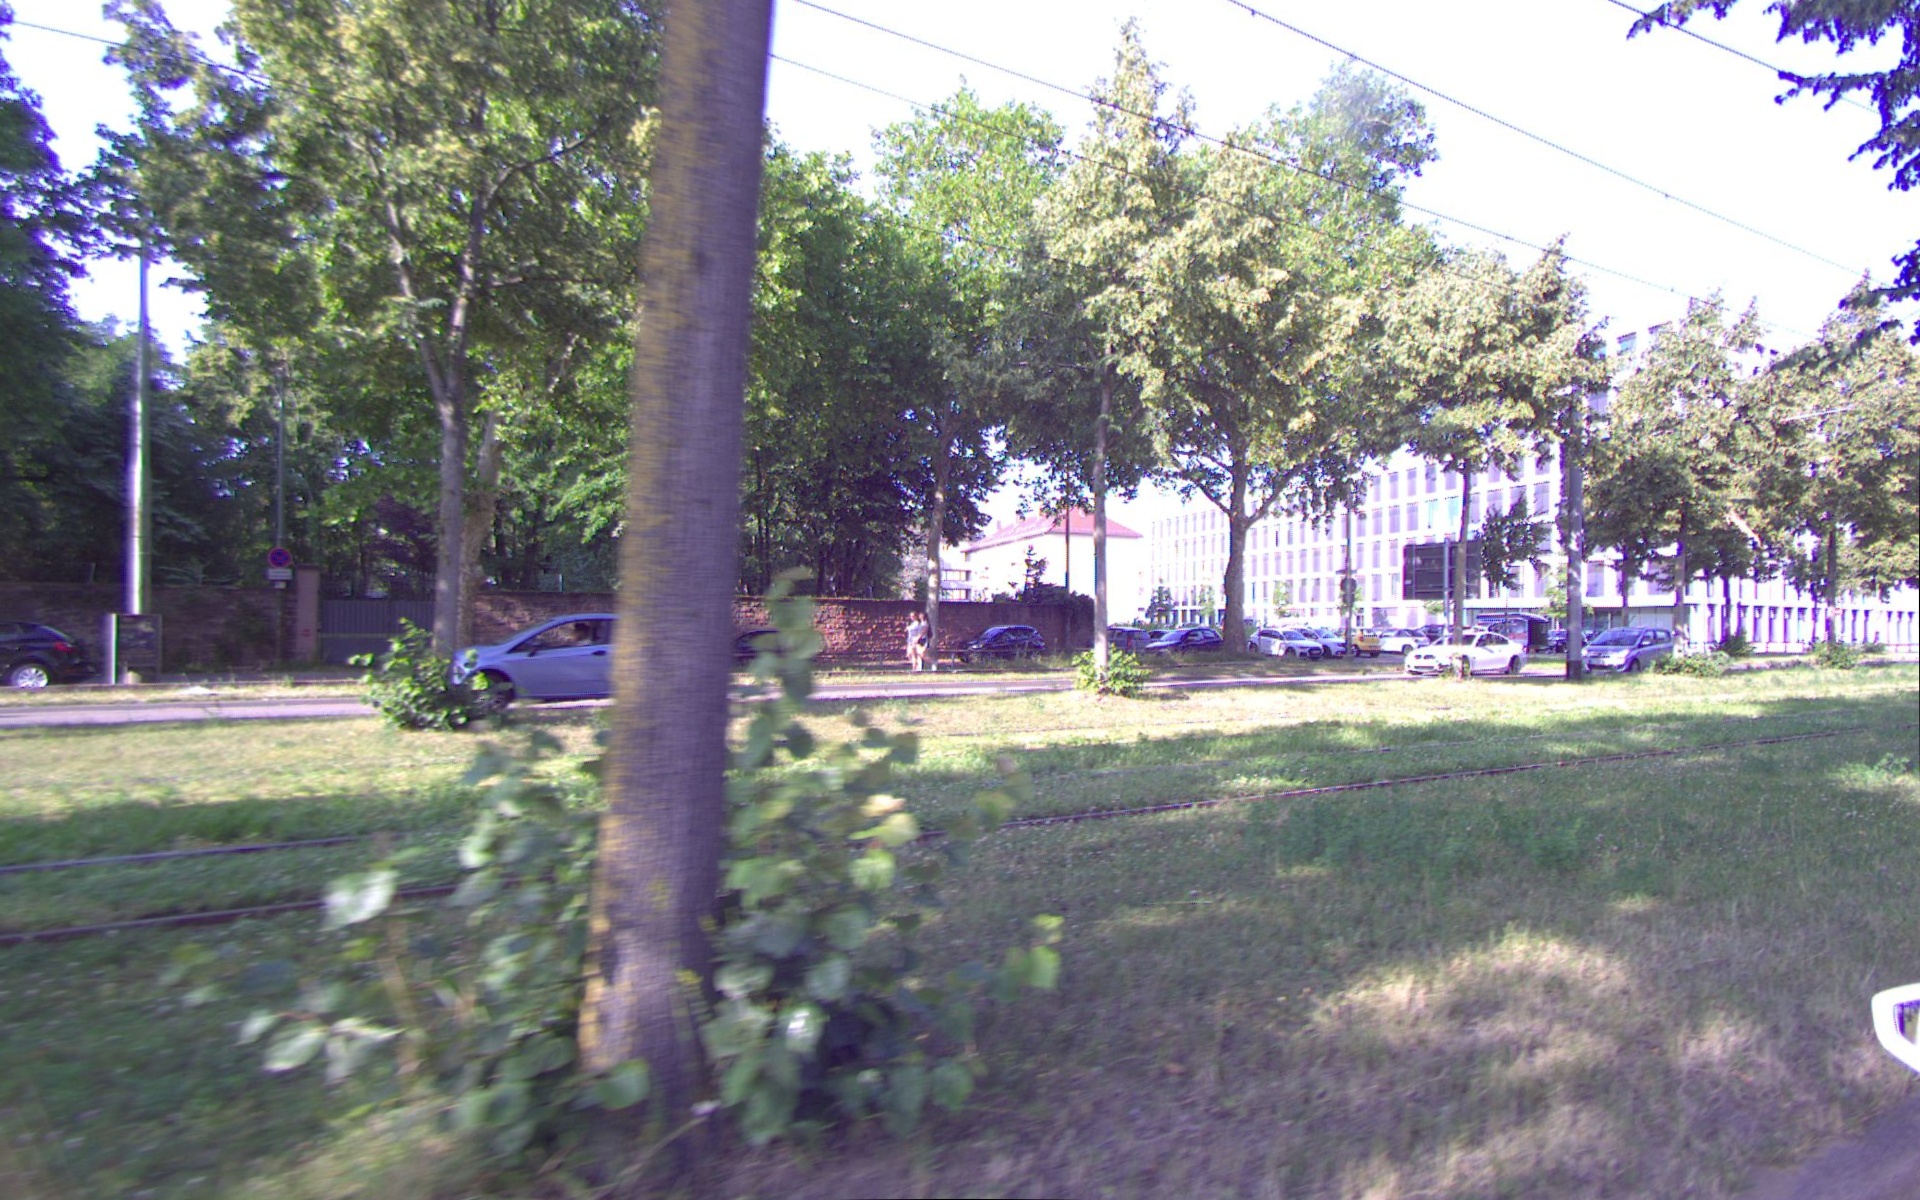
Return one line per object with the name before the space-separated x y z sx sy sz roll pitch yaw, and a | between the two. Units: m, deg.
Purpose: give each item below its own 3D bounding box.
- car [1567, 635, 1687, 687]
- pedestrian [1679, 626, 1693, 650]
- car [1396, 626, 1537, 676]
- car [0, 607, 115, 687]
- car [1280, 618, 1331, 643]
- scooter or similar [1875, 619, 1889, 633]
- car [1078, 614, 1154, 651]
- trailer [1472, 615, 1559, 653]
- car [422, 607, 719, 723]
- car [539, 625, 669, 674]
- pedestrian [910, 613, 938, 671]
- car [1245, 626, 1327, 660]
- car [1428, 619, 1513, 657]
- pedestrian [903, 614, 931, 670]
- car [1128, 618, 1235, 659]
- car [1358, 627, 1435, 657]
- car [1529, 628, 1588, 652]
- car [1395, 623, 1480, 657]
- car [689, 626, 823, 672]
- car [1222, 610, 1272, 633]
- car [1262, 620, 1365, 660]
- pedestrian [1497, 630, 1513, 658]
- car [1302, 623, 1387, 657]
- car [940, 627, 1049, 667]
car | 20.337 1.841 30.596 3.653 1.411 1.575 2 0 -30
pedestrian | 53.311 2.771 73.793 0.683 1.751 0.565 2 1 -30
car | 16.090 1.624 31.857 4.757 1.495 1.674 2 -4 -31
car | -19.227 0.872 19.186 4.421 1.450 1.822 2 0 -30
car | 37.375 3.282 108.775 4.944 2.566 1.806 2 0 -14
scooter or similar | 83.863 2.392 91.359 1.278 1.242 0.335 2 1 -17
car | 7.169 1.473 46.462 1.718 1.506 3.850 2 0 -22
trailer | 33.607 2.053 60.890 1.735 2.081 4.348 2 0 -27
car | -6.005 0.961 15.614 4.084 1.552 1.602 2 0 -30
car | -11.804 1.629 33.354 3.863 1.461 1.711 2 0 -28
pedestrian | -0.963 1.112 26.720 0.595 1.495 0.384 2 1 -31
car | 16.039 2.120 49.628 1.787 1.447 3.632 2 0 -27
car | 29.097 2.157 57.379 1.736 1.973 3.974 2 0 -29
pedestrian | -1.165 1.127 27.144 0.595 1.495 0.384 2 1 -31
car | 8.617 1.481 38.986 3.988 1.454 1.673 2 0 -30
car | 23.948 2.286 55.165 1.705 1.444 3.551 2 0 -29
car | 37.196 2.480 62.432 3.722 1.412 1.669 2 1 -34
car | 26.392 2.202 55.655 1.736 1.665 3.974 2 0 -29
car | -7.178 1.736 35.459 4.307 1.461 1.779 2 0 -28
car | 28.401 2.129 99.473 4.424 2.187 1.847 2 0 -18
car | 18.064 1.993 51.559 1.862 1.758 5.040 2 0 -27
pedestrian | 30.264 2.433 55.811 0.562 1.500 0.519 2 1 -31
car | 20.204 2.096 52.915 1.832 1.581 3.971 2 0 -27
car | 1.434 1.923 41.413 4.320 1.461 1.773 2 0 -37
